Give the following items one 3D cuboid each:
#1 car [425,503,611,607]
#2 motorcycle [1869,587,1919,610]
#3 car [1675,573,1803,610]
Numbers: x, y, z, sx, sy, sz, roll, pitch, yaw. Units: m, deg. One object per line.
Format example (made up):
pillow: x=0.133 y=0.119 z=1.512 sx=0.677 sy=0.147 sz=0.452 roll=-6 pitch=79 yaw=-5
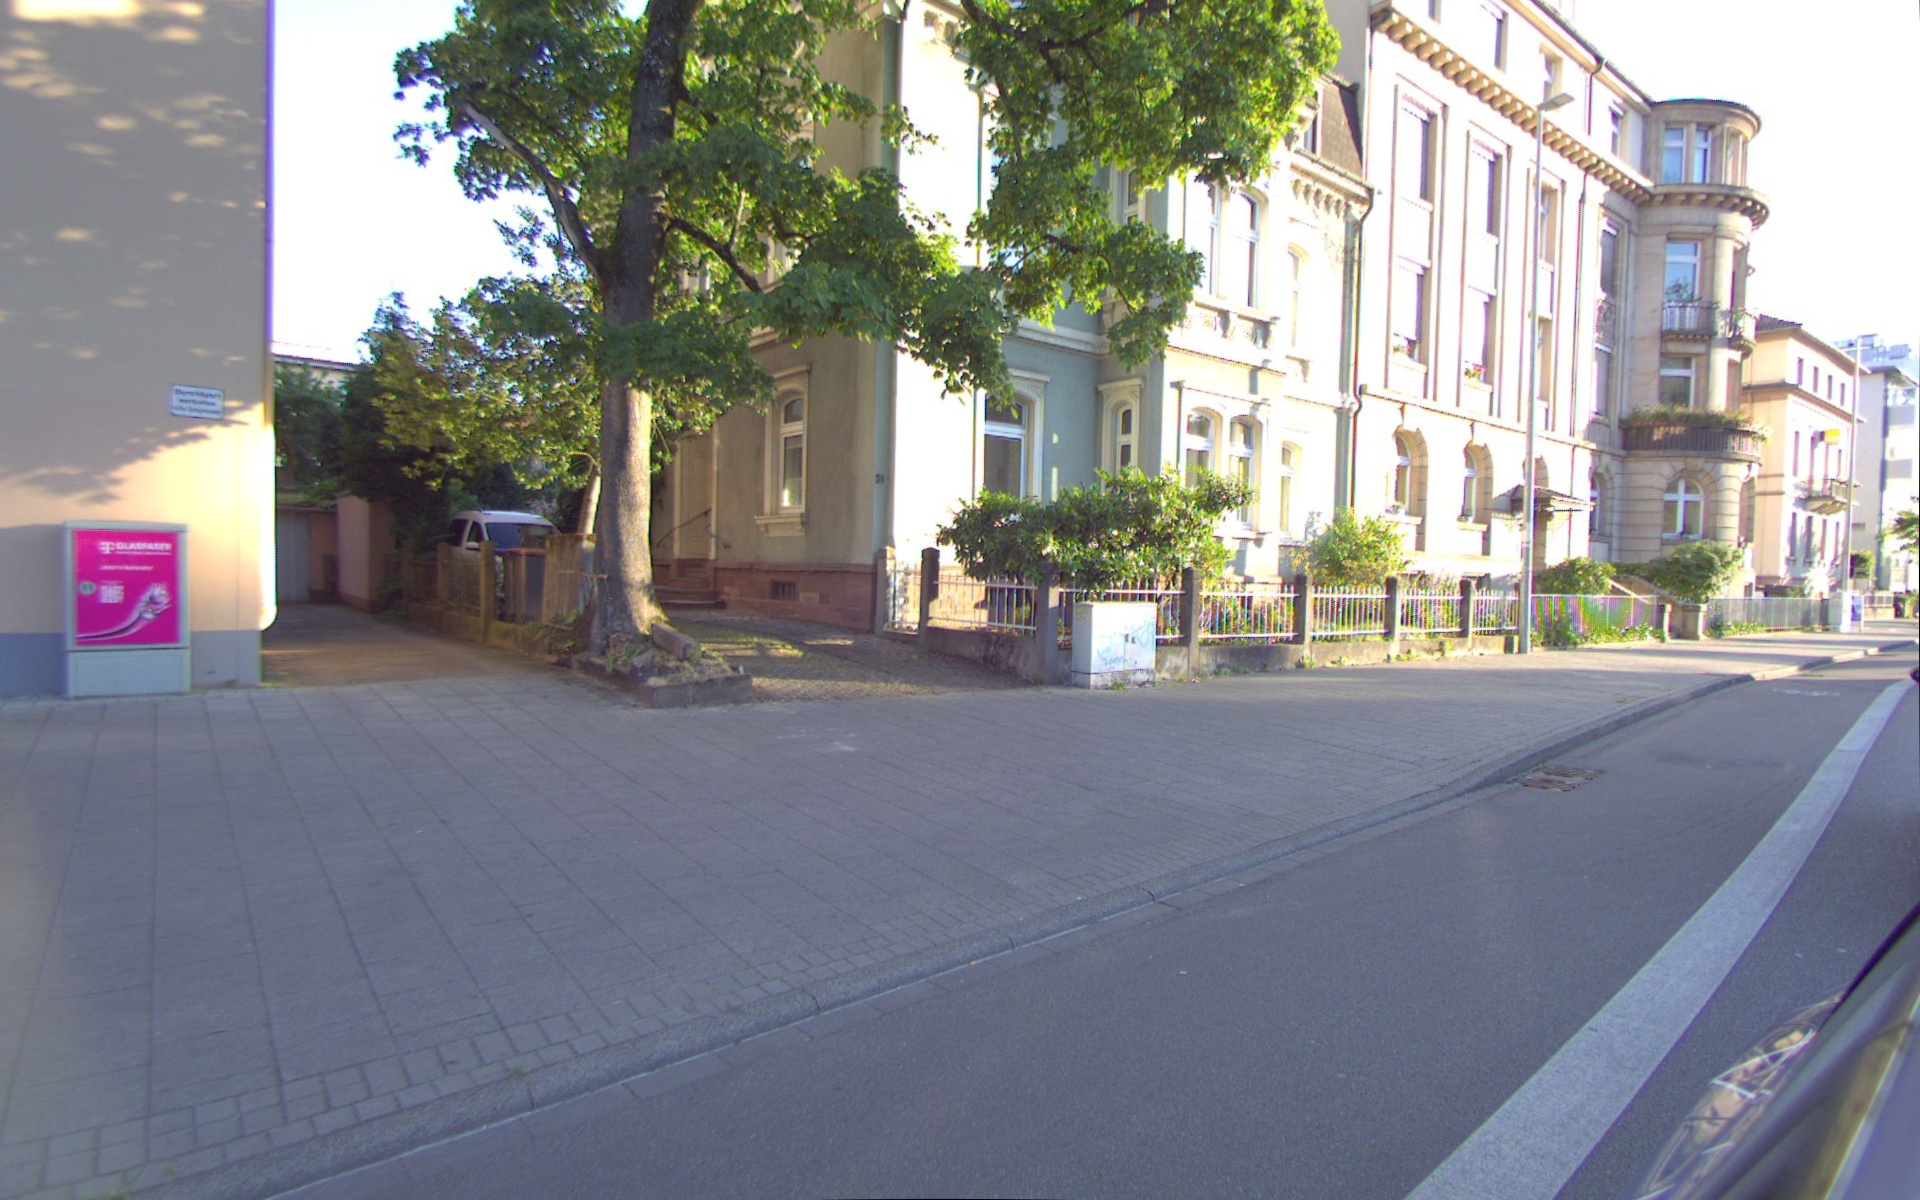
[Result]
car: x=-8.646 y=-0.924 z=19.583 sx=1.795 sy=1.778 sz=4.513 roll=1 pitch=3 yaw=-44
motorcycle: x=48.310 y=-0.078 z=52.343 sx=0.564 sy=1.110 sz=1.851 roll=0 pitch=1 yaw=-33
car: x=34.052 y=-0.382 z=44.337 sx=1.903 sy=1.499 sz=4.098 roll=0 pitch=2 yaw=-38
